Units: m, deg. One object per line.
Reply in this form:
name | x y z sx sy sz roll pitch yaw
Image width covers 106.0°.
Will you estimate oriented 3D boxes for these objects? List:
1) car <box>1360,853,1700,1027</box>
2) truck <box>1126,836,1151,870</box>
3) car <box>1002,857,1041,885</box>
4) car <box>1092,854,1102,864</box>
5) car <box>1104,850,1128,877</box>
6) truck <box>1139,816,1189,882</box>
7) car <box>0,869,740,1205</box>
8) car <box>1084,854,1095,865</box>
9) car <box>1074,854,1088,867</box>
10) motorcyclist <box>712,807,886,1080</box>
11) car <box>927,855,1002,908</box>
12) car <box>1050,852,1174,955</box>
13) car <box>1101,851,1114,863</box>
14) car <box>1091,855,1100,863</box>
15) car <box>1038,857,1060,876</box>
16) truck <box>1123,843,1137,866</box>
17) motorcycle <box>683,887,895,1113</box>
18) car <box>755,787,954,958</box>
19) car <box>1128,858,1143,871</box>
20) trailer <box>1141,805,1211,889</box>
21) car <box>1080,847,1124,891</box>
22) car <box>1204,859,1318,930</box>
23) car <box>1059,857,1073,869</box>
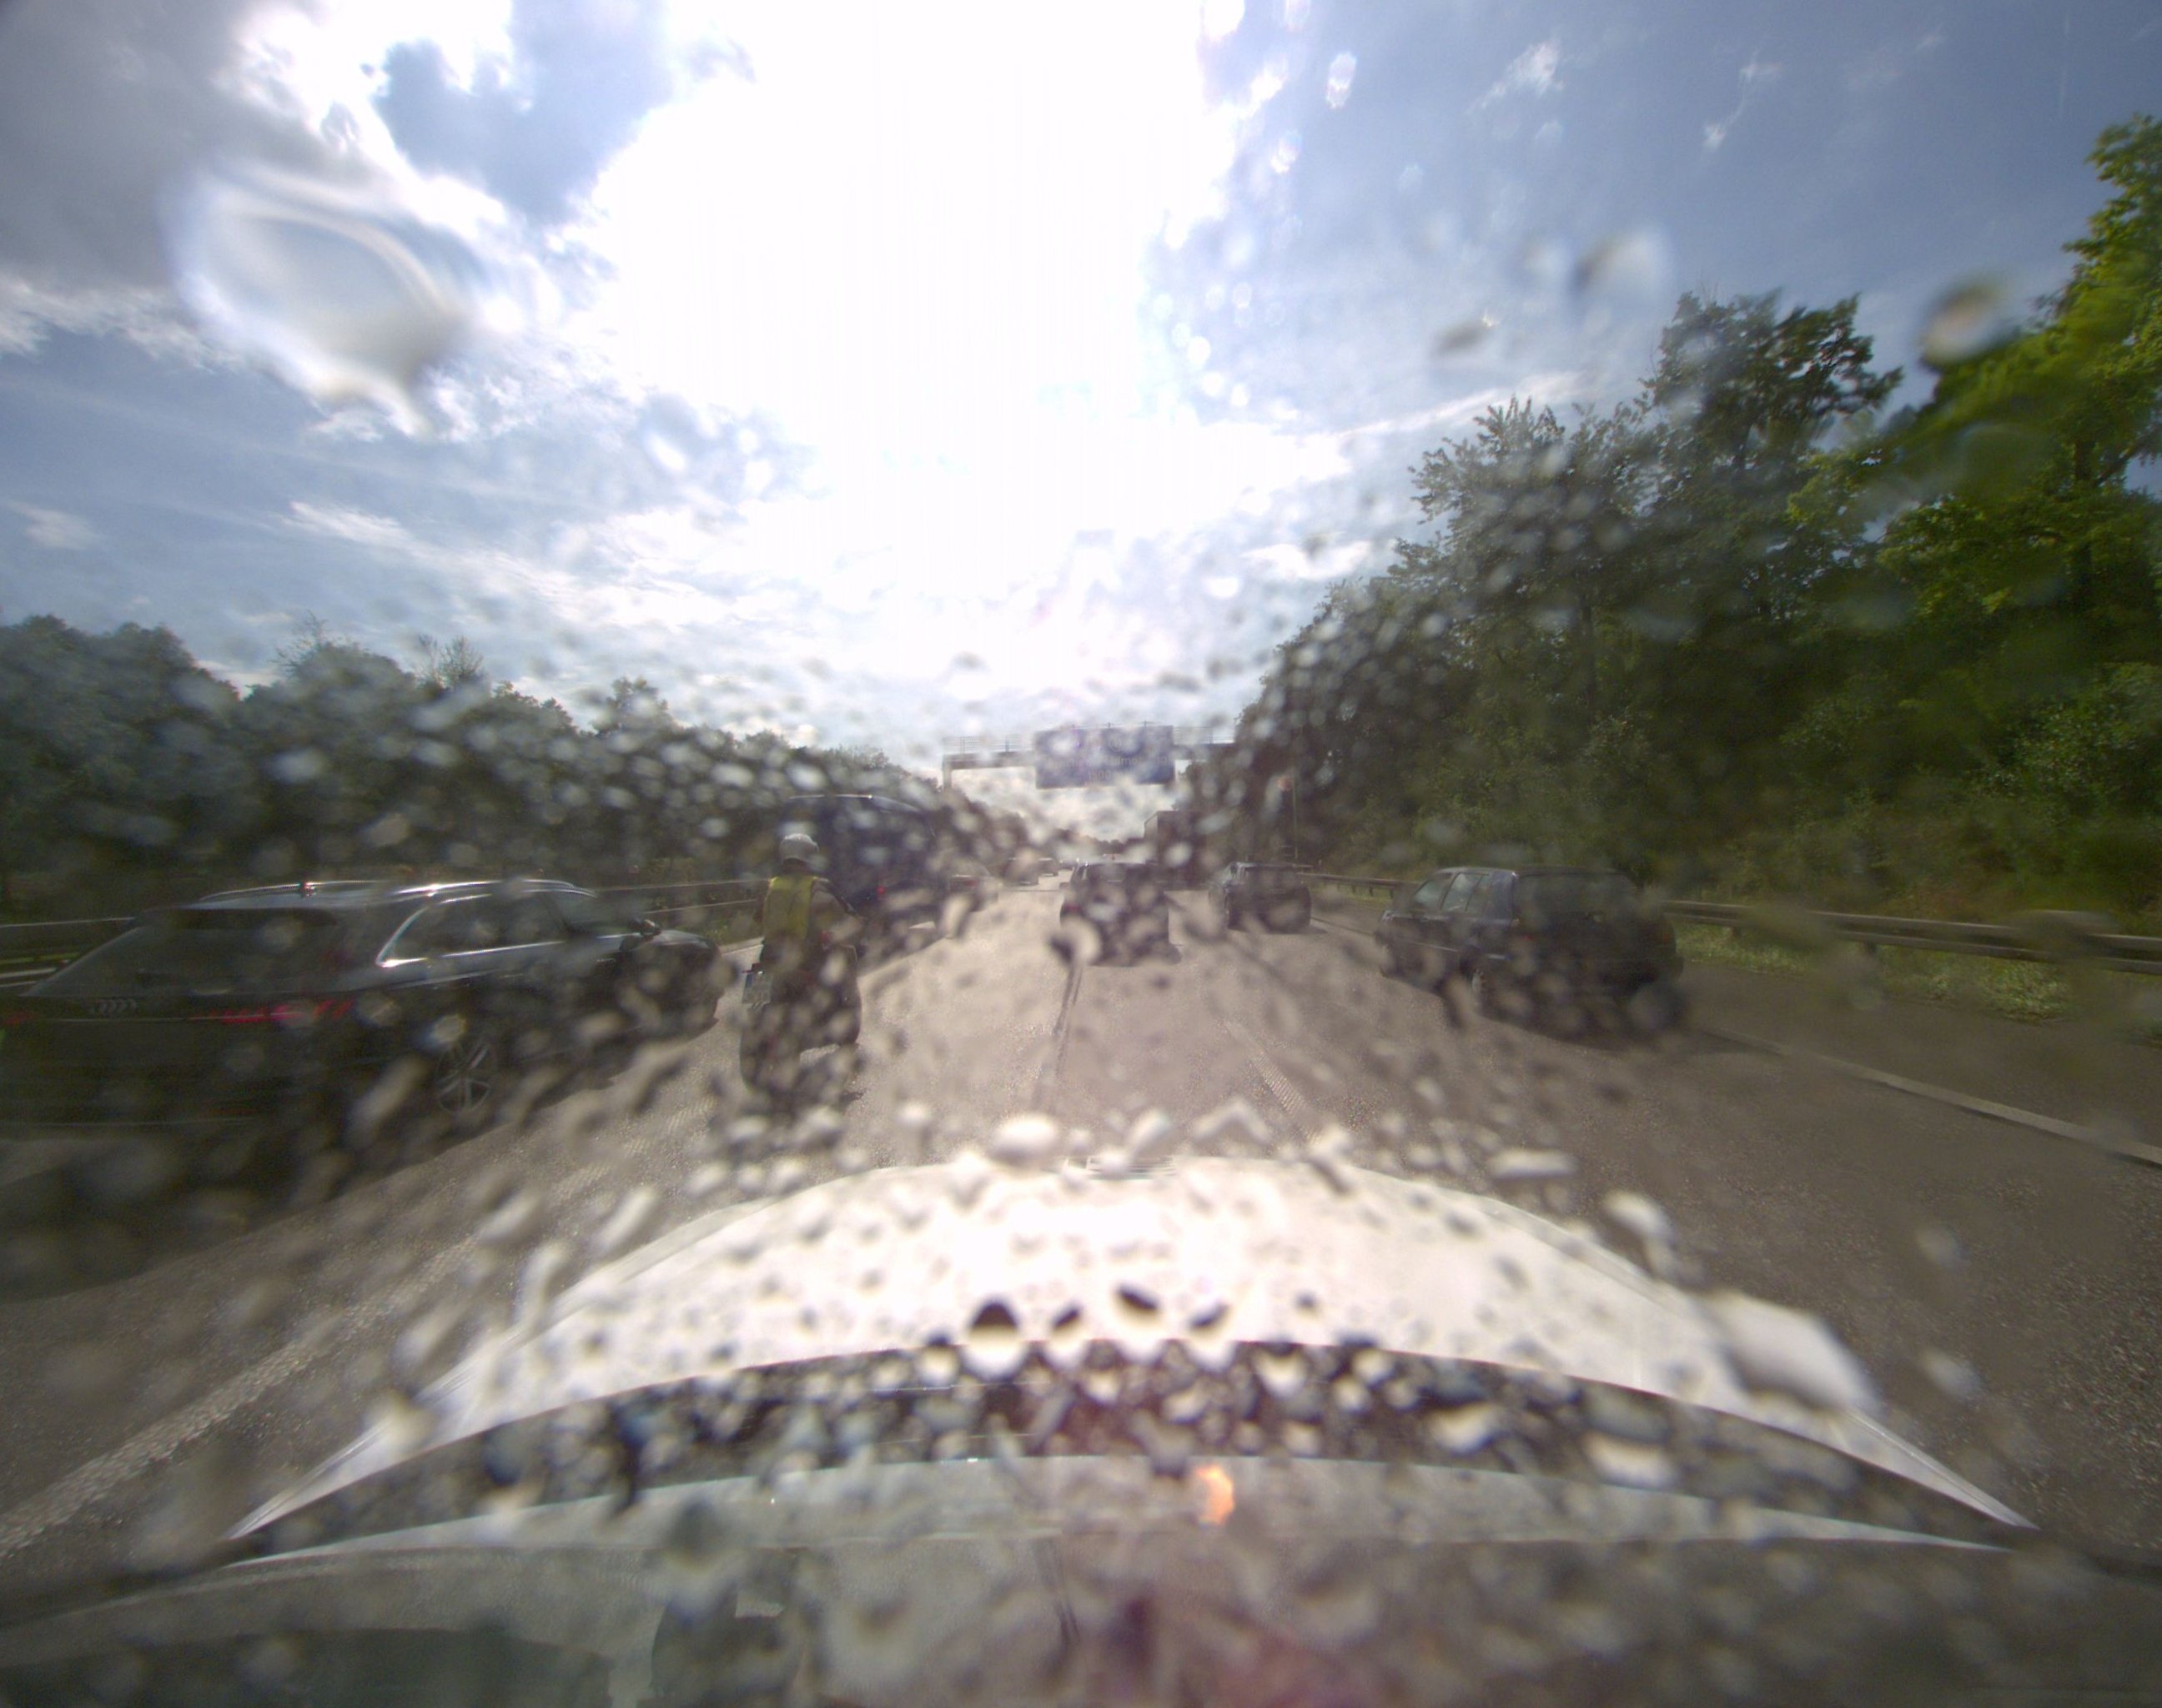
car | 4.482 0.748 8.833 1.645 1.456 3.745 -1 0 1
truck | 7.709 -0.107 110.549 3.189 4.404 9.438 -1 -1 3
car | -3.577 1.001 49.286 1.886 1.628 4.197 -1 0 2
car | 3.499 1.099 176.285 1.986 2.014 4.002 -1 -1 2
car | 2.577 0.675 59.785 1.669 1.936 3.775 -1 0 2
truck | 5.694 -0.299 56.646 3.040 4.325 5.888 -1 -1 2
car | -4.307 0.853 5.826 1.713 1.411 4.469 -1 0 2
car | 1.602 1.059 153.316 1.986 2.014 4.002 -1 -1 2
car | 0.019 1.097 129.638 1.986 2.014 4.002 -1 -1 2
motorcyclist | -2.003 0.587 6.004 0.819 1.761 1.389 -1 -1 -2
car | -3.732 0.837 26.745 1.752 1.595 4.331 0 0 1
car | 0.552 0.783 14.773 1.907 1.565 4.315 -1 0 2
car | 3.361 0.408 103.197 1.625 1.490 3.438 -1 0 2
car | 3.498 1.229 196.689 1.986 2.014 4.002 -1 -1 2
car | -2.830 1.122 72.923 1.669 1.597 3.438 -1 0 2
truck | 10.410 0.157 174.290 2.870 4.688 12.665 -1 -1 2
motorcycle | -1.994 0.919 5.945 0.817 1.263 2.116 -1 0 -2
car | -4.014 0.308 15.692 2.008 2.648 5.779 -1 0 2
car | 6.314 1.205 94.707 1.669 1.490 3.438 -1 0 2
trailer | 5.451 -0.330 49.394 3.076 4.312 14.111 -1 0 2
car | 1.031 0.725 39.559 1.986 2.014 4.001 -1 -1 2
car | 3.961 0.832 18.616 1.748 1.396 4.370 -1 0 2
car | -1.912 1.196 104.339 1.669 1.490 3.438 -1 0 2
